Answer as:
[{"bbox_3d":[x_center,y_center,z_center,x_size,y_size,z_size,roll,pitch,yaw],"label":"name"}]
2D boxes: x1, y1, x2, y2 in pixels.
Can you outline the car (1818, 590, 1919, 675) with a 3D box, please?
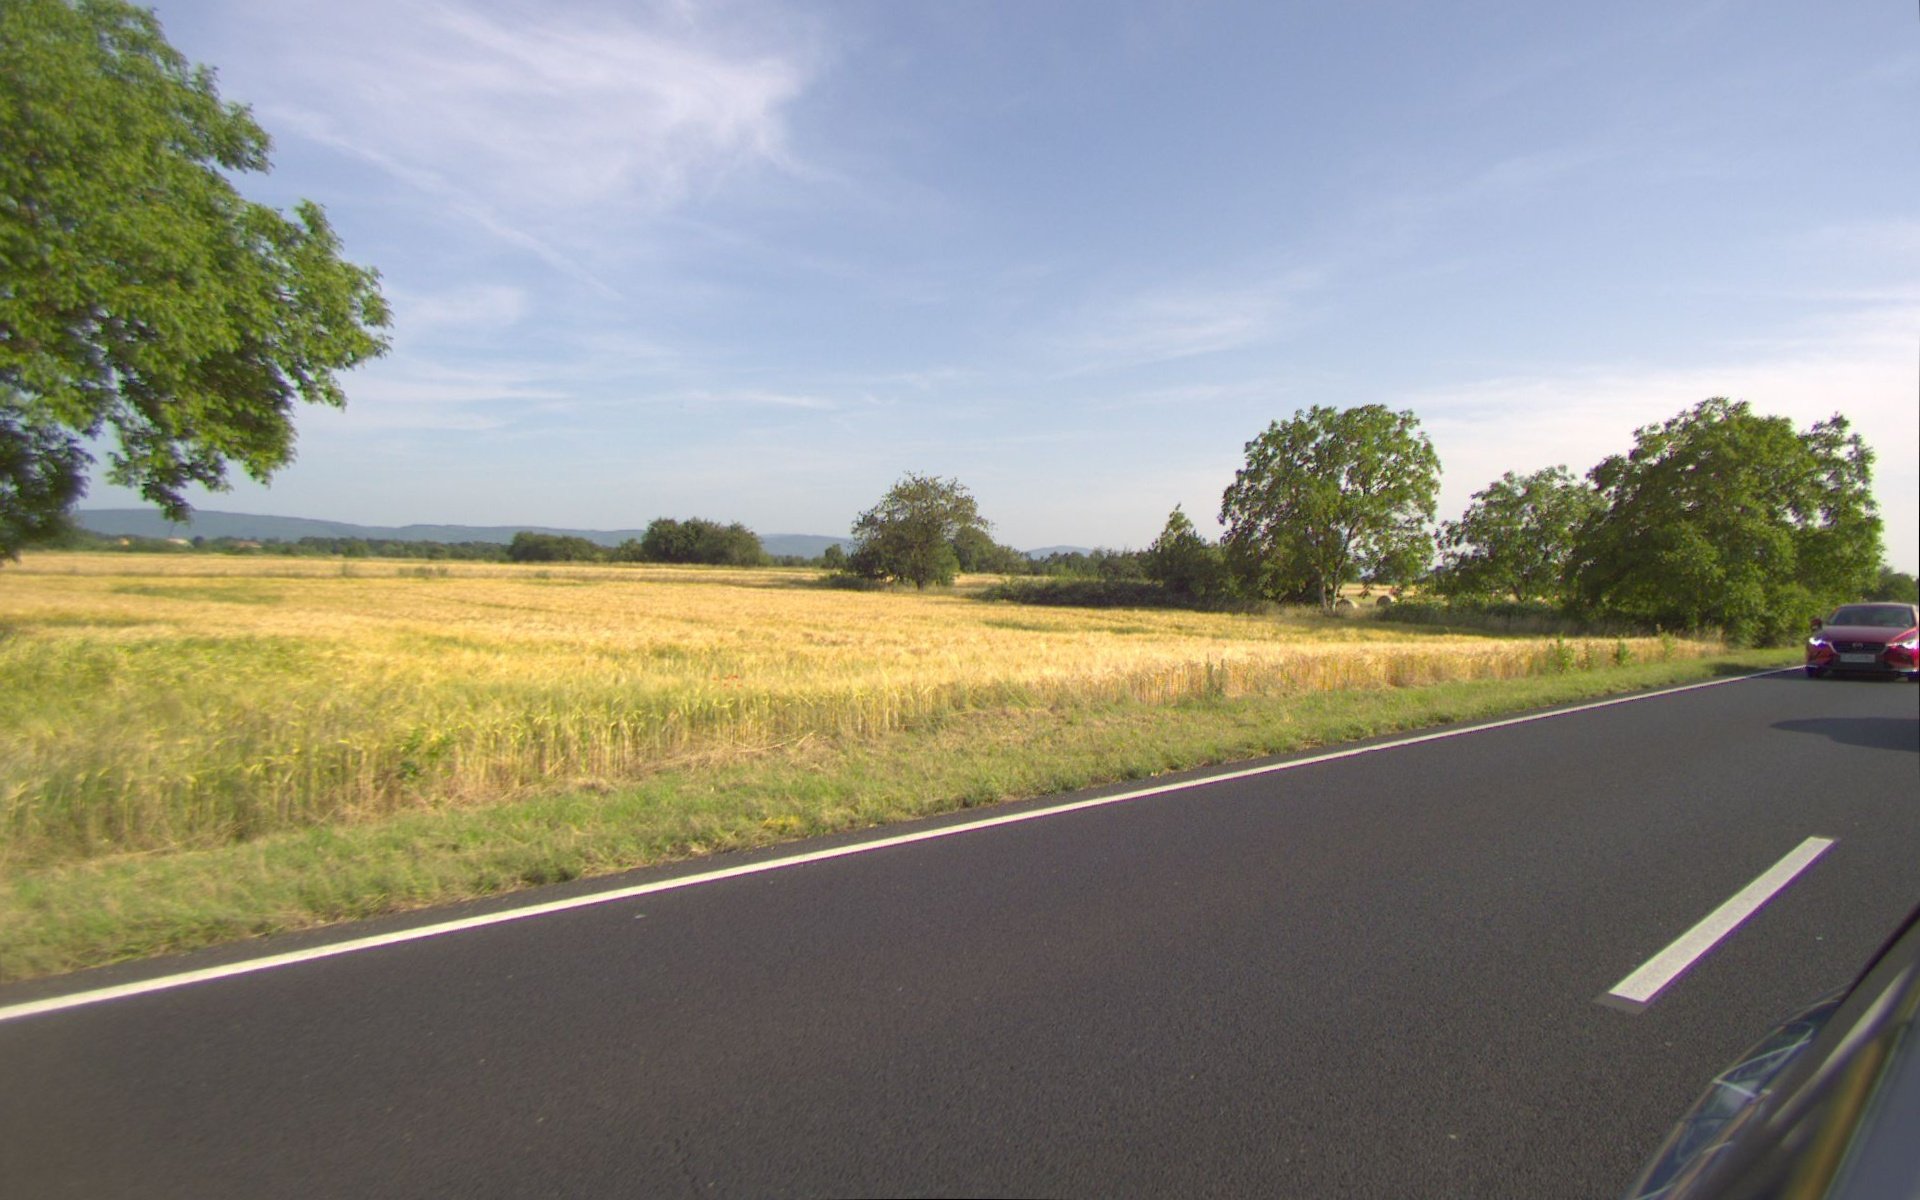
[{"bbox_3d":[18.953,0.577,20.576,4.423,1.524,1.707,-1,1,-41],"label":"car"}]
